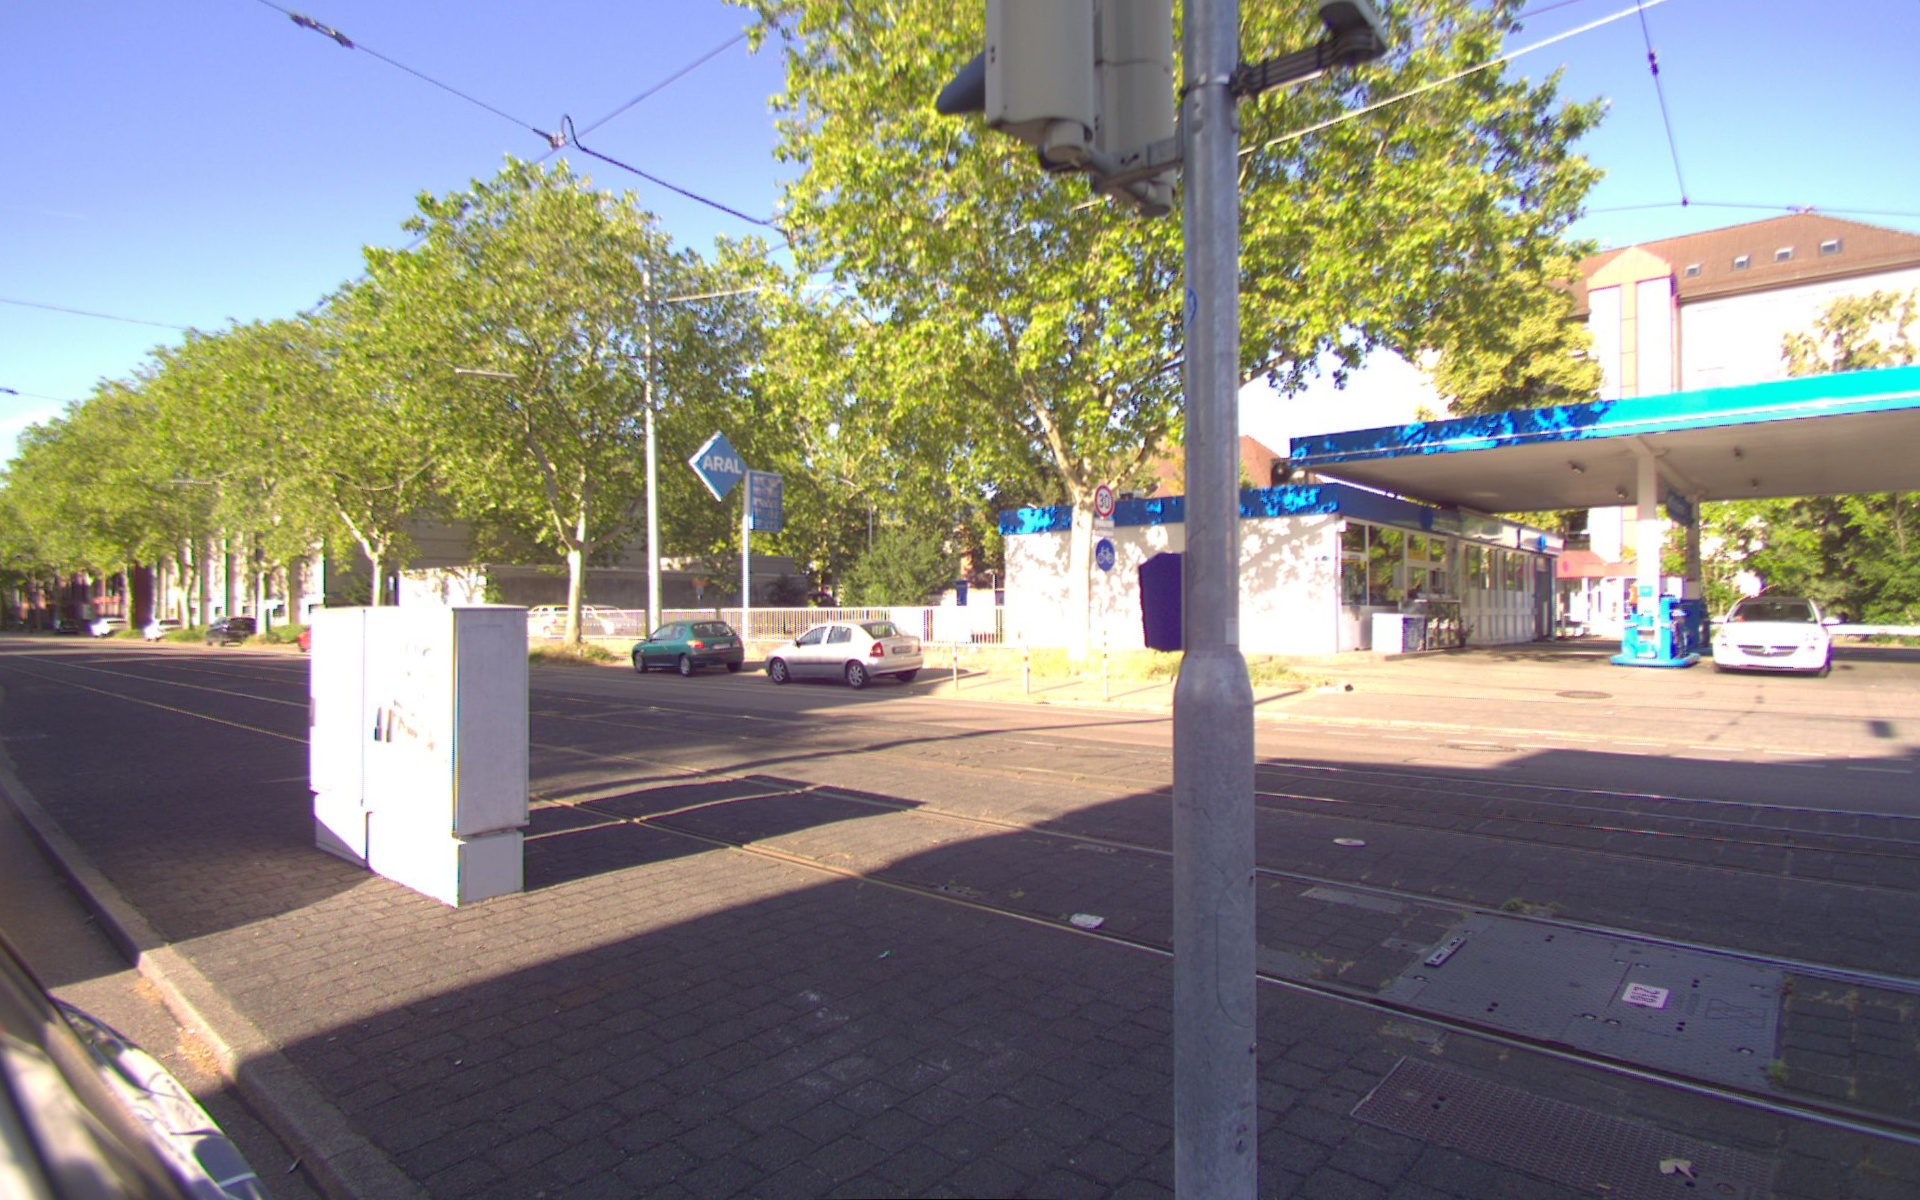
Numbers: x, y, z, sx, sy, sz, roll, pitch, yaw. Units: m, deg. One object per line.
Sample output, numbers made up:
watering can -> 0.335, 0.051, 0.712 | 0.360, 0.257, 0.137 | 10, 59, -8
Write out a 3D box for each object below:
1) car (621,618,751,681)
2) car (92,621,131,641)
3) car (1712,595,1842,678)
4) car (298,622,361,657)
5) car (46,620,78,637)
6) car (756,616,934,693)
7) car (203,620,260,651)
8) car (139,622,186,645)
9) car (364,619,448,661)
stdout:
car -> -7.328, 1.273, 26.929 | 3.519, 1.475, 1.670 | -1, 2, 43
car -> -66.684, 2.391, 79.526 | 3.998, 1.525, 1.779 | -1, -1, 41
car -> 16.028, 0.673, 19.905 | 1.812, 1.453, 3.947 | -1, -1, 39
car -> -28.555, 1.745, 45.796 | 3.045, 1.519, 1.620 | -1, -1, 41
car -> -85.324, 2.719, 96.114 | 3.998, 1.525, 1.779 | -1, -1, 41
car -> -2.629, 1.155, 22.660 | 3.965, 1.475, 1.771 | -1, 2, 43
car -> -40.754, 1.946, 56.587 | 3.998, 1.674, 1.779 | -1, -1, 41
car -> -53.720, 2.257, 68.160 | 3.998, 1.509, 1.779 | -1, -1, 41
car -> -21.941, 1.545, 40.049 | 3.652, 1.541, 1.802 | -1, -1, 41
